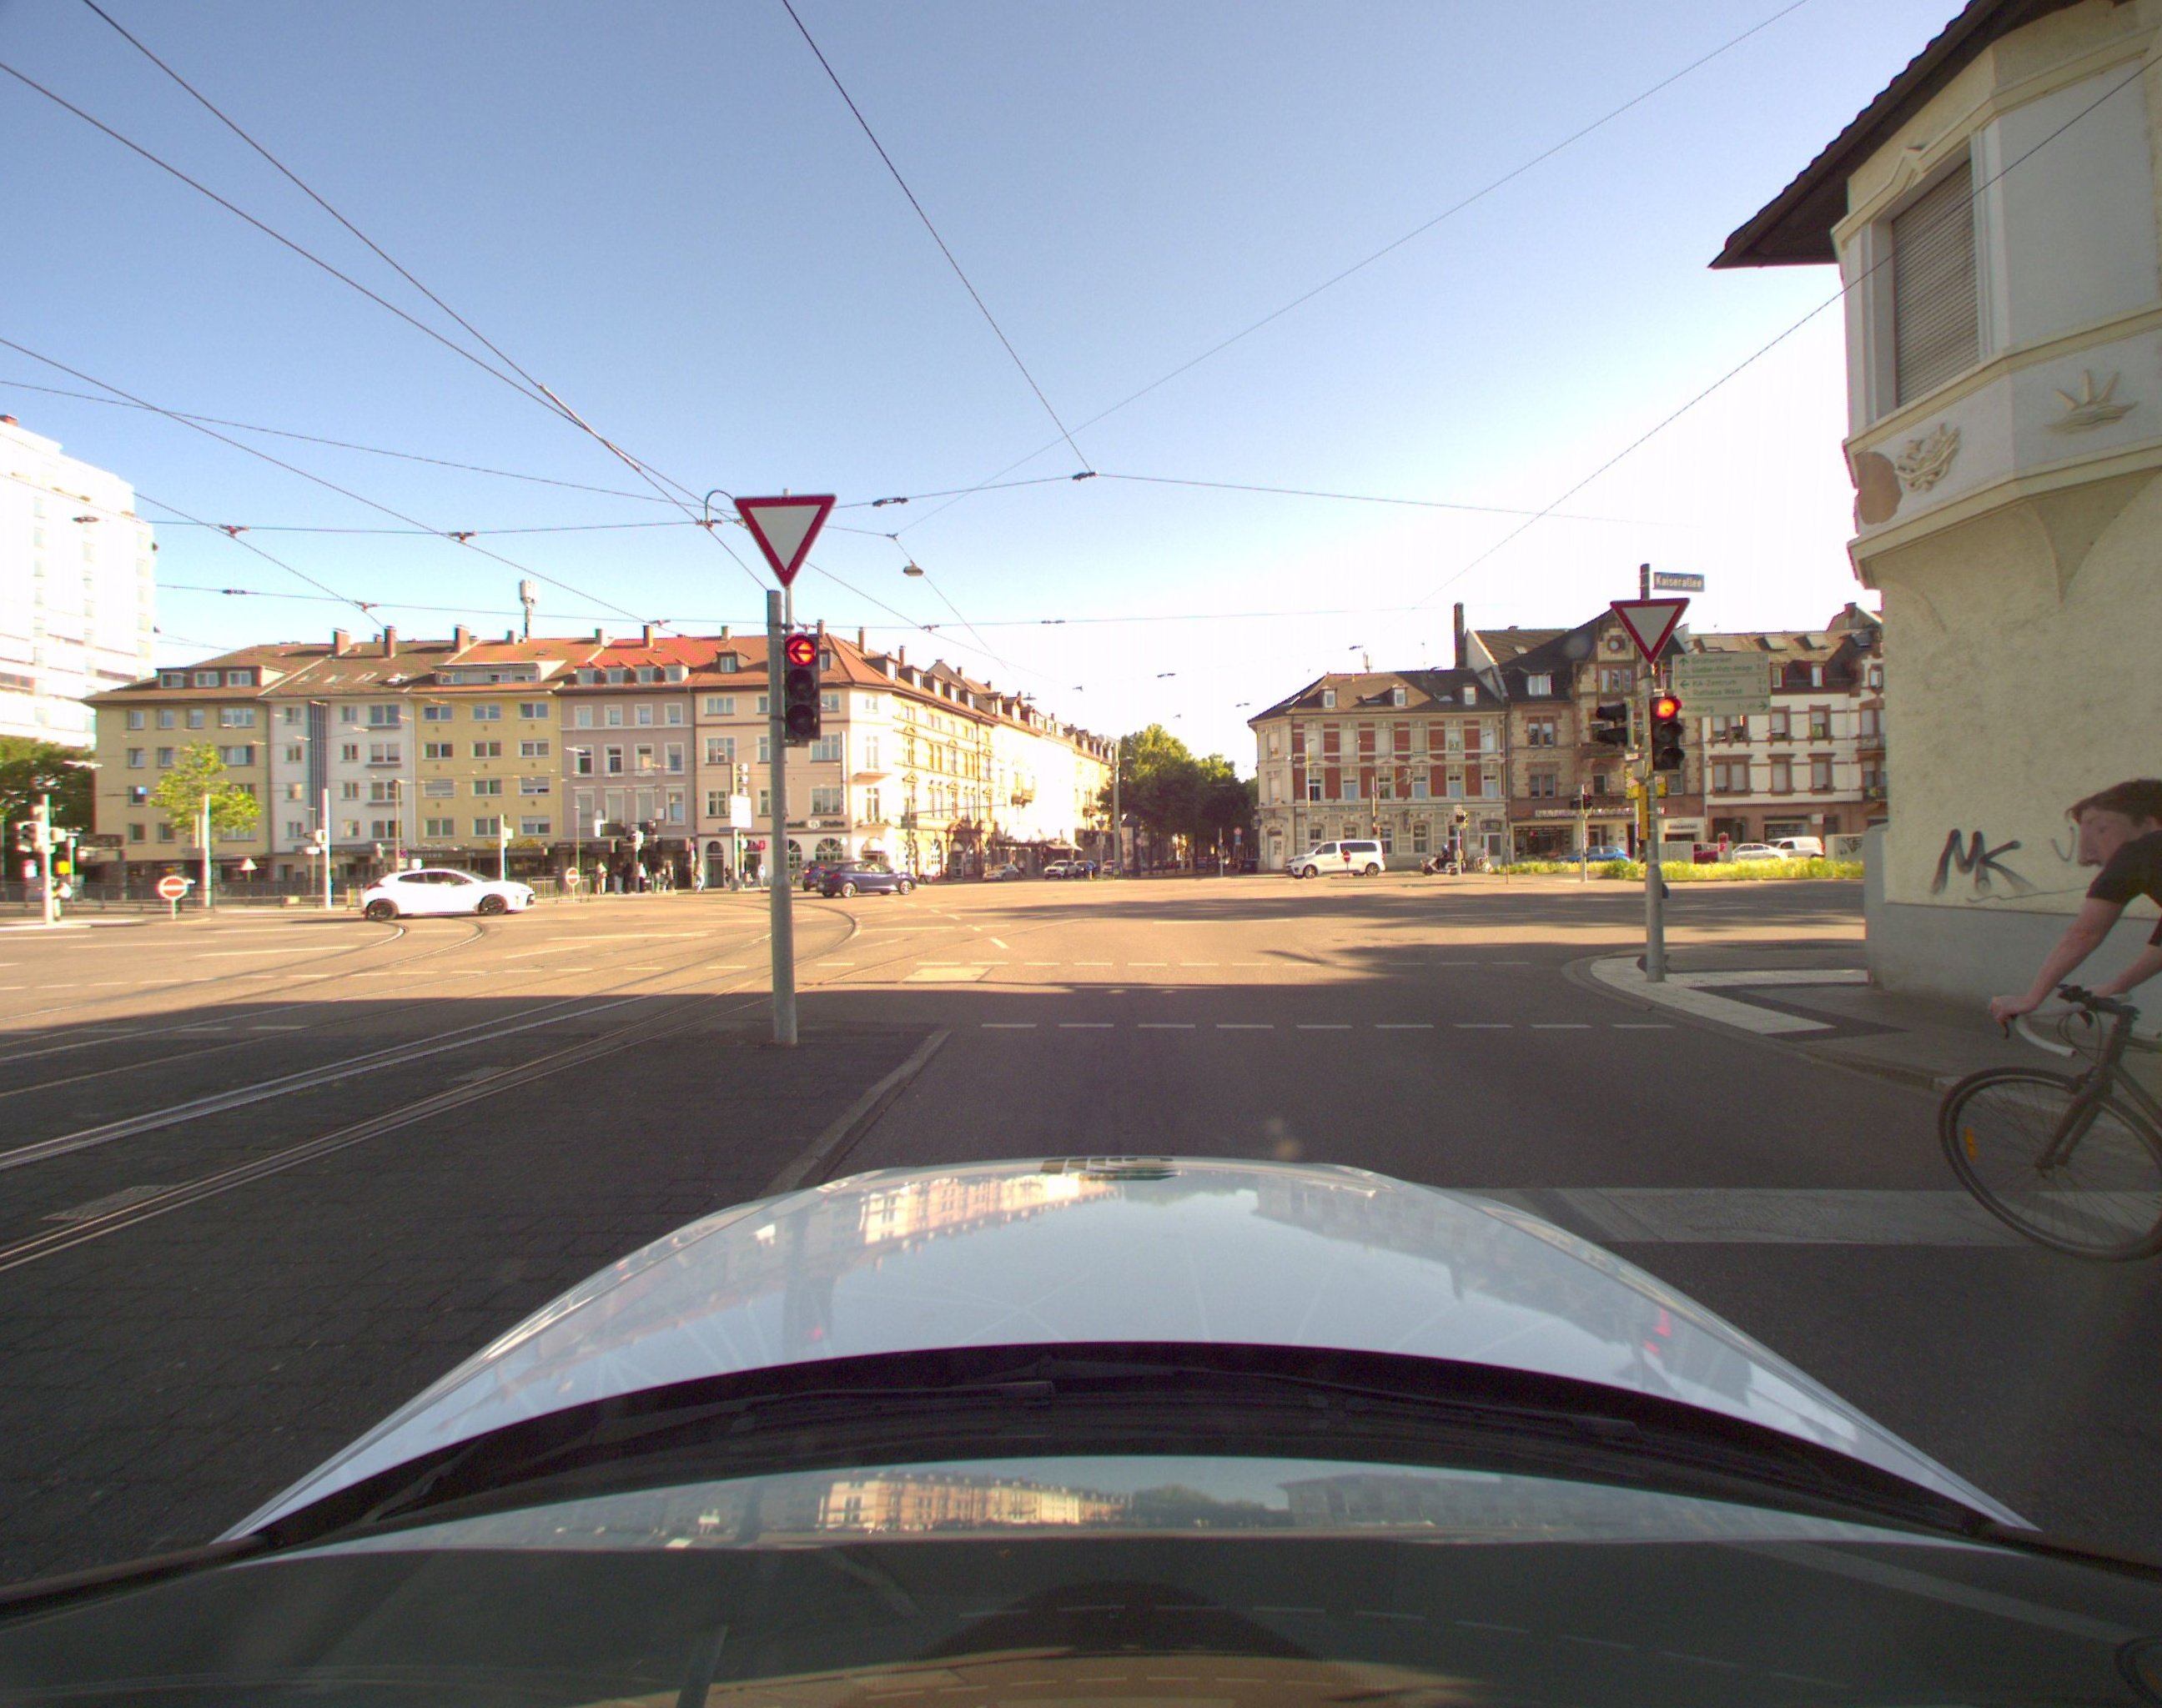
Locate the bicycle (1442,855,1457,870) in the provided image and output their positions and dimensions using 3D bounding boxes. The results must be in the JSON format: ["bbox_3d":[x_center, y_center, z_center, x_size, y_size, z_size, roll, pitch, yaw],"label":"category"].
[{"bbox_3d":[23.973,0.561,52.993,0.758,0.983,2.221,-1,-1,20],"label":"bicycle"}]

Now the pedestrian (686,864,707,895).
[{"bbox_3d":[-19.931,1.317,42.187,0.666,1.594,0.815,0,-1,1],"label":"pedestrian"}]

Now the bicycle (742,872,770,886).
[{"bbox_3d":[-22.994,1.752,57.604,1.694,0.983,0.611,0,-1,1],"label":"bicycle"}]

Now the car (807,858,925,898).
[{"bbox_3d":[-8.278,0.887,31.564,4.022,1.403,1.809,-1,0,-43],"label":"car"}]

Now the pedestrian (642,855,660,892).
[{"bbox_3d":[-21.636,0.973,40.941,0.525,1.823,0.677,0,-1,1],"label":"pedestrian"}]

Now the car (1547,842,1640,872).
[{"bbox_3d":[28.323,0.176,45.116,3.970,1.622,1.806,0,-1,3],"label":"car"}]

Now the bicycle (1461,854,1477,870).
[{"bbox_3d":[25.177,0.538,52.858,0.758,1.007,2.231,-1,-1,20],"label":"bicycle"}]

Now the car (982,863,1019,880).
[{"bbox_3d":[-6.619,1.445,67.367,1.647,1.374,3.909,-1,-1,17],"label":"car"}]

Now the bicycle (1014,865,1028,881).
[{"bbox_3d":[-4.820,1.483,65.207,0.561,1.254,1.564,-1,-1,17],"label":"bicycle"}]

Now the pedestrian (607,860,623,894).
[{"bbox_3d":[-23.194,1.142,40.521,0.520,1.648,0.498,0,-1,1],"label":"pedestrian"}]

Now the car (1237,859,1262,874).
[{"bbox_3d":[17.027,1.249,82.275,1.741,1.556,4.021,-1,-1,22],"label":"car"}]

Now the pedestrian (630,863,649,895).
[{"bbox_3d":[-22.960,1.283,42.317,0.571,1.648,0.727,0,-1,1],"label":"pedestrian"}]

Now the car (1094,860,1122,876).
[{"bbox_3d":[2.788,1.378,83.055,1.788,1.575,3.908,-1,-1,17],"label":"car"}]

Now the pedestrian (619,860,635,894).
[{"bbox_3d":[-22.577,1.138,40.488,0.520,1.648,0.498,0,-1,1],"label":"pedestrian"}]

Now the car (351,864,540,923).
[{"bbox_3d":[-18.629,1.109,24.133,4.014,1.454,1.883,-2,0,-24],"label":"car"}]

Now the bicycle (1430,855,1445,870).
[{"bbox_3d":[23.254,0.567,53.092,0.758,0.968,2.221,-1,-1,20],"label":"bicycle"}]

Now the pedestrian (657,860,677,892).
[{"bbox_3d":[-21.524,1.114,42.331,0.580,1.648,0.840,0,-1,1],"label":"pedestrian"}]

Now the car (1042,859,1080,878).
[{"bbox_3d":[-1.637,1.174,67.463,1.788,1.585,4.179,-1,-1,19],"label":"car"}]

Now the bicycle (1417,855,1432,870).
[{"bbox_3d":[22.499,0.574,53.359,0.758,0.963,2.221,-1,-1,20],"label":"bicycle"}]

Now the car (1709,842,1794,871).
[{"bbox_3d":[39.413,0.140,47.915,3.584,1.618,1.779,0,-1,0],"label":"car"}]

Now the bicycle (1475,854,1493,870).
[{"bbox_3d":[26.041,0.530,52.670,0.785,1.016,2.221,-1,-1,20],"label":"bicycle"}]

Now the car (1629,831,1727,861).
[{"bbox_3d":[30.526,-0.394,41.695,3.854,1.426,1.596,-1,0,2],"label":"car"}]

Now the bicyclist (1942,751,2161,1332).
[{"bbox_3d":[3.577,0.570,2.629,0.587,1.767,0.936,0,-1,2],"label":"bicyclist"}]

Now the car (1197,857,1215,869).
[{"bbox_3d":[17.898,1.340,116.366,1.978,1.684,4.018,-1,-1,17],"label":"car"}]

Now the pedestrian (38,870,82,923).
[{"bbox_3d":[-31.719,1.298,25.315,0.770,1.609,0.605,0,-1,-44],"label":"pedestrian"}]

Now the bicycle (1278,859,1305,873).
[{"bbox_3d":[14.702,0.825,56.920,1.789,0.963,0.606,-1,-1,16],"label":"bicycle"}]

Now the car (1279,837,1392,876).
[{"bbox_3d":[13.028,0.112,41.890,5.189,1.854,1.997,-1,0,-4],"label":"car"}]

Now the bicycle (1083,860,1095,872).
[{"bbox_3d":[0.800,1.173,83.127,0.668,1.207,1.831,-1,-1,20],"label":"bicycle"}]

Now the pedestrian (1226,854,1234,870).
[{"bbox_3d":[18.763,1.012,102.585,0.957,2.014,0.919,0,-1,3],"label":"pedestrian"}]

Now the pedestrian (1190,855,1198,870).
[{"bbox_3d":[15.215,1.123,109.349,0.936,2.014,0.830,-1,-1,16],"label":"pedestrian"}]

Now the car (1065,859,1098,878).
[{"bbox_3d":[0.064,1.285,73.775,1.809,1.685,3.893,-1,-1,18],"label":"car"}]

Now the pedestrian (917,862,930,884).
[{"bbox_3d":[-11.709,1.394,60.622,0.562,1.642,0.797,-1,-1,25],"label":"pedestrian"}]

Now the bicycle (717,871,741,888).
[{"bbox_3d":[-22.965,1.670,53.115,0.618,1.030,1.758,0,-1,7],"label":"bicycle"}]

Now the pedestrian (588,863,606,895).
[{"bbox_3d":[-25.043,1.289,42.139,0.582,1.648,0.616,0,-1,1],"label":"pedestrian"}]

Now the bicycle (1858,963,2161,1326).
[{"bbox_3d":[3.581,0.963,2.626,0.480,0.991,1.783,0,-1,2],"label":"bicycle"}]

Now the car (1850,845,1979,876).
[{"bbox_3d":[43.481,0.334,42.566,4.839,1.469,1.805,-1,1,2],"label":"car"}]

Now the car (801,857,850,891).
[{"bbox_3d":[-12.785,0.983,41.006,1.825,1.575,4.184,-1,0,-10],"label":"car"}]

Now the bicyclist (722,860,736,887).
[{"bbox_3d":[-22.963,1.278,53.144,0.618,1.790,0.616,0,-1,7],"label":"bicyclist"}]

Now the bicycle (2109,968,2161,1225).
[{"bbox_3d":[4.451,0.953,2.446,0.501,0.983,1.783,0,-1,2],"label":"bicycle"}]

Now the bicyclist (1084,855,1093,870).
[{"bbox_3d":[0.797,0.844,83.134,0.668,1.568,0.751,-1,-1,20],"label":"bicyclist"}]

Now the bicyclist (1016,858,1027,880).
[{"bbox_3d":[-4.779,1.210,65.380,0.561,1.804,0.918,-1,-1,17],"label":"bicyclist"}]

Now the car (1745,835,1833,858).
[{"bbox_3d":[45.502,-0.447,52.410,3.961,1.438,1.874,0,-1,5],"label":"car"}]

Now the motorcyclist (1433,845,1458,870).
[{"bbox_3d":[18.746,0.178,41.945,1.008,1.300,0.791,-1,-1,11],"label":"motorcyclist"}]

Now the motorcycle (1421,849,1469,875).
[{"bbox_3d":[18.719,0.417,41.945,2.122,1.333,0.799,-1,-1,10],"label":"motorcycle"}]
